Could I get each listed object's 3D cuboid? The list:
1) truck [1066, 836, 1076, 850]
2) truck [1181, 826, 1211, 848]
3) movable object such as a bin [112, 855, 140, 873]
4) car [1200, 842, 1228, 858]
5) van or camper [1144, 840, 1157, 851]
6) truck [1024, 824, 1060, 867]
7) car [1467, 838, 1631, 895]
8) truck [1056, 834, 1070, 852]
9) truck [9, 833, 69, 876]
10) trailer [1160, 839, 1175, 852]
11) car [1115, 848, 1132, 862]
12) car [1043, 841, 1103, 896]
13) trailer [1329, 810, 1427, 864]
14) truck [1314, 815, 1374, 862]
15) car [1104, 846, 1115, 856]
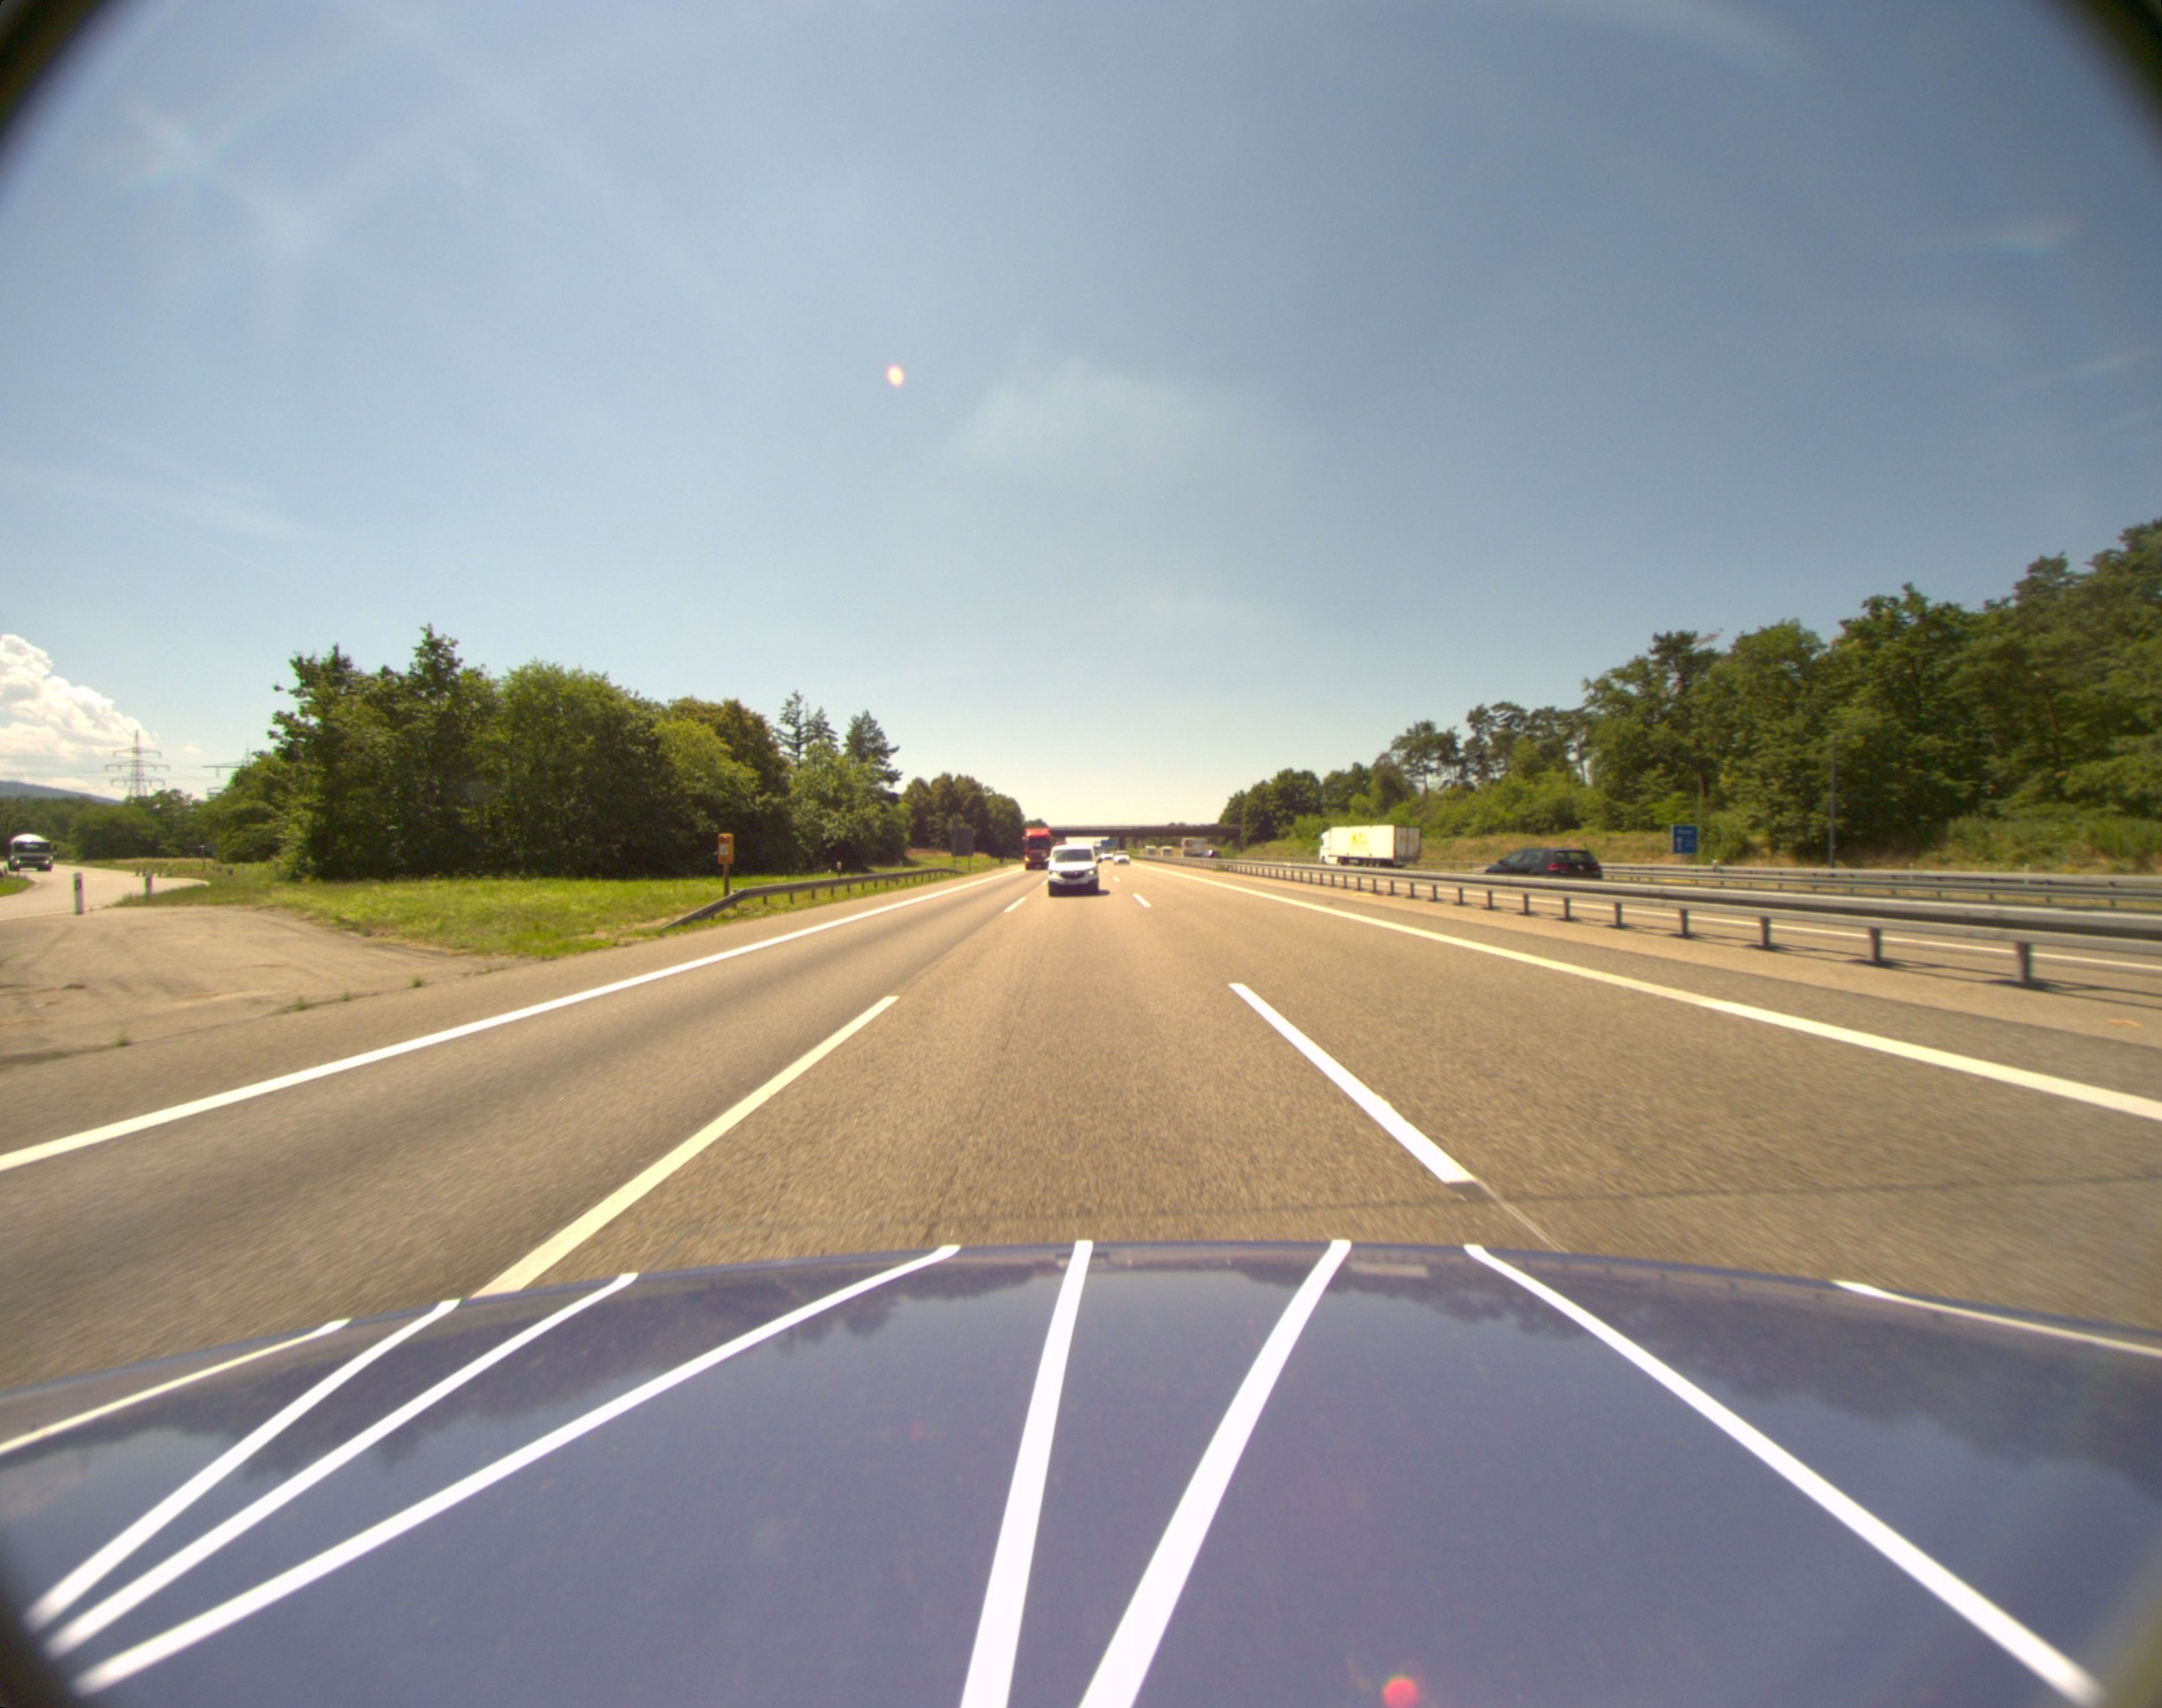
[{"bbox_3d":[-2.822,-3.266,223.195,2.603,3.980,6.173,-3,1,0],"label":"truck"},{"bbox_3d":[22.311,-3.189,148.217,3.334,3.973,16.864,-1,1,1],"label":"truck"},{"bbox_3d":[-116.516,1.183,92.693,3.989,2.002,2.004,-2,1,37],"label":"movable object such as a bin"},{"bbox_3d":[14.200,-0.426,81.411,2.057,1.542,4.890,1,0,0],"label":"car"},{"bbox_3d":[18.398,-2.251,201.021,2.508,2.794,8.558,-1,1,-1],"label":"van or camper"},{"bbox_3d":[-3.728,-0.854,75.081,2.687,3.776,12.477,-3,0,0],"label":"truck"},{"bbox_3d":[14.290,0.331,23.624,2.057,1.542,4.890,1,0,0],"label":"car"},{"bbox_3d":[-3.718,-2.285,160.371,2.535,3.712,6.098,-3,1,0],"label":"truck"},{"bbox_3d":[-108.373,0.089,78.990,7.890,4.059,3.086,-2,1,33],"label":"truck"},{"bbox_3d":[18.368,-1.786,162.010,2.483,2.732,5.074,1,1,0],"label":"trailer"},{"bbox_3d":[4.491,0.146,81.222,1.581,1.411,3.353,-3,-1,0],"label":"car"},{"bbox_3d":[-0.201,0.467,28.275,1.870,1.807,4.941,-3,0,3],"label":"car"},{"bbox_3d":[29.228,-1.567,75.868,3.080,4.799,13.757,1,0,-6],"label":"trailer"},{"bbox_3d":[28.517,-1.581,82.687,3.080,4.799,7.711,1,0,-6],"label":"truck"},{"bbox_3d":[4.500,-0.449,119.869,1.581,1.411,3.353,-3,-1,0],"label":"car"}]
